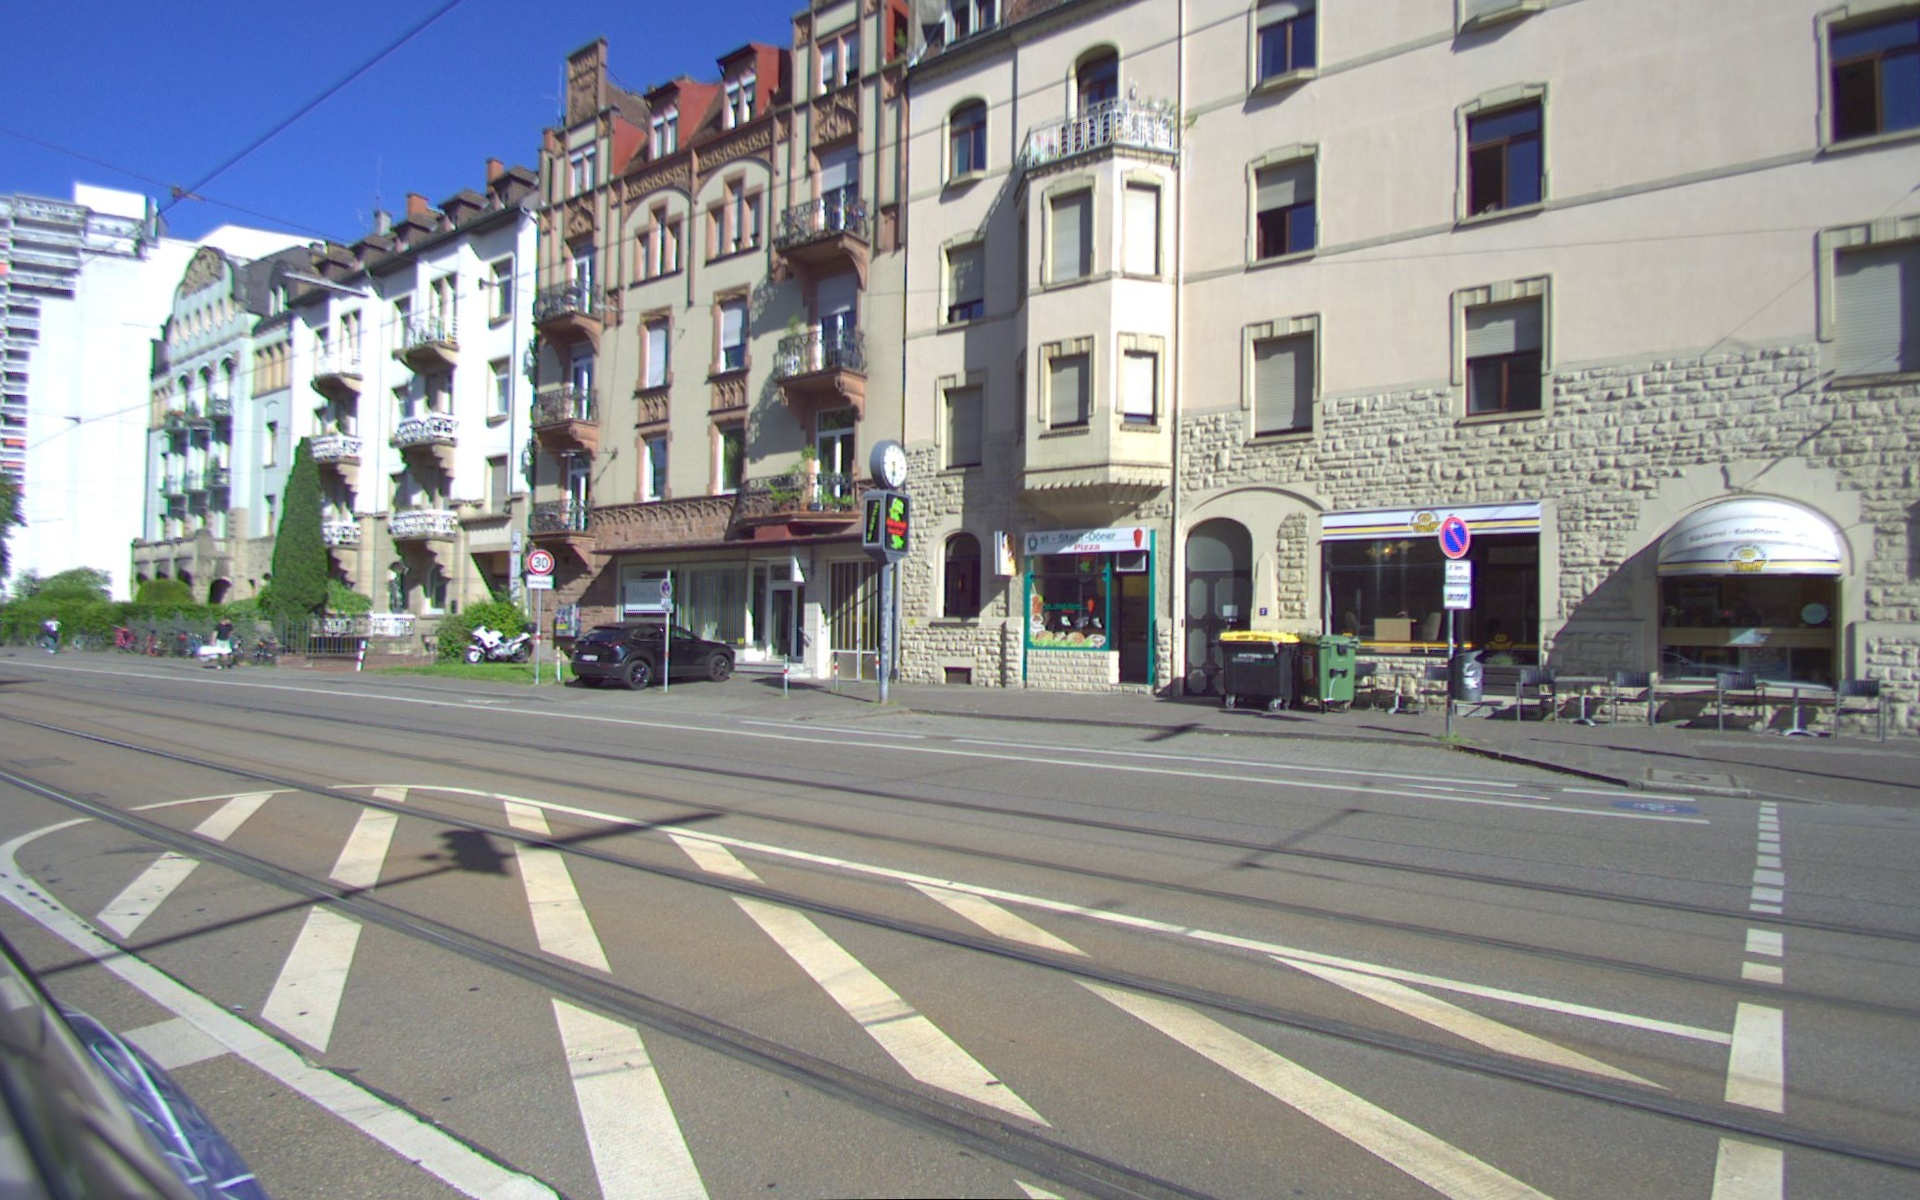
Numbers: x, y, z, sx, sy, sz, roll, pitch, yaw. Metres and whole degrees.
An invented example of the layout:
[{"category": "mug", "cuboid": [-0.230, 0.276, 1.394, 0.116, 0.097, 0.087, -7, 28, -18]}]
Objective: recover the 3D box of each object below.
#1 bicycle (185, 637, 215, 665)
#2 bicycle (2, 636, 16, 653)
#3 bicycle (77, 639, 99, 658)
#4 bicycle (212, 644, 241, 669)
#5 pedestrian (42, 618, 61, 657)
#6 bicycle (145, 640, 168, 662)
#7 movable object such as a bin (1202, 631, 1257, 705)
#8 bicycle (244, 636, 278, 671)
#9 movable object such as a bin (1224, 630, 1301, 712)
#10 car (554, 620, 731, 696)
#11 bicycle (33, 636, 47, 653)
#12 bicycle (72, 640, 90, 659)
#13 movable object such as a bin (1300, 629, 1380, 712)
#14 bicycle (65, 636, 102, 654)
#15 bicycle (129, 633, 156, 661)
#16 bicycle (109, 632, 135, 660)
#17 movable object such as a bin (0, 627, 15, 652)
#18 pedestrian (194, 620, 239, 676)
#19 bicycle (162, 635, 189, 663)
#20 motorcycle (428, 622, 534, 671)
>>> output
[{"category": "bicycle", "cuboid": [-27.072, 1.800, 36.041, 1.746, 0.949, 0.400, 0, -1, 38]}, {"category": "bicycle", "cuboid": [-47.633, 2.224, 50.689, 1.261, 0.767, 0.293, 0, -1, 38]}, {"category": "bicycle", "cuboid": [-37.104, 2.071, 43.058, 1.579, 0.767, 0.400, 0, -1, 38]}, {"category": "bicycle", "cuboid": [-24.551, 1.891, 33.865, 1.649, 0.767, 0.314, 0, -1, 38]}, {"category": "pedestrian", "cuboid": [-38.610, 1.580, 42.992, 0.658, 1.641, 0.470, 0, -1, 38]}, {"category": "bicycle", "cuboid": [-30.249, 1.906, 38.081, 1.540, 0.767, 0.314, 0, -1, 38]}, {"category": "movable object such as a bin", "cuboid": [5.109, 1.270, 19.187, 0.844, 1.335, 0.658, 1, -1, -42]}, {"category": "bicycle", "cuboid": [-22.611, 1.719, 32.733, 1.746, 1.047, 0.400, 0, -1, 38]}, {"category": "movable object such as a bin", "cuboid": [5.398, 1.240, 18.045, 0.844, 1.391, 1.029, 1, -1, -41]}, {"category": "car", "cuboid": [-7.593, 1.316, 24.544, 1.765, 1.514, 3.959, 0, 1, 31]}, {"category": "bicycle", "cuboid": [-43.708, 2.110, 48.077, 1.261, 0.767, 0.293, 0, -1, 38]}, {"category": "bicycle", "cuboid": [-38.268, 2.150, 44.043, 1.261, 0.767, 0.335, 0, -1, 38]}, {"category": "movable object such as a bin", "cuboid": [6.637, 1.216, 17.714, 1.011, 1.391, 0.859, 0, -1, -8]}, {"category": "bicycle", "cuboid": [-40.309, 2.082, 46.575, 0.297, 0.799, 1.247, 0, -1, 37]}, {"category": "bicycle", "cuboid": [-31.636, 1.802, 39.153, 1.813, 1.031, 0.400, 0, -1, 38]}, {"category": "bicycle", "cuboid": [-33.524, 1.825, 40.471, 1.813, 1.031, 0.400, 0, -1, 38]}, {"category": "movable object such as a bin", "cuboid": [-52.719, 2.132, 55.160, 2.093, 1.326, 1.483, 0, -1, 38]}, {"category": "pedestrian", "cuboid": [-23.318, 1.483, 31.733, 0.869, 1.640, 0.859, 0, 3, 37]}, {"category": "bicycle", "cuboid": [-28.757, 1.781, 37.095, 1.646, 0.949, 0.400, 0, -1, 38]}, {"category": "motorcycle", "cuboid": [-15.187, 1.441, 32.217, 0.821, 1.467, 3.058, 0, -1, 34]}]
